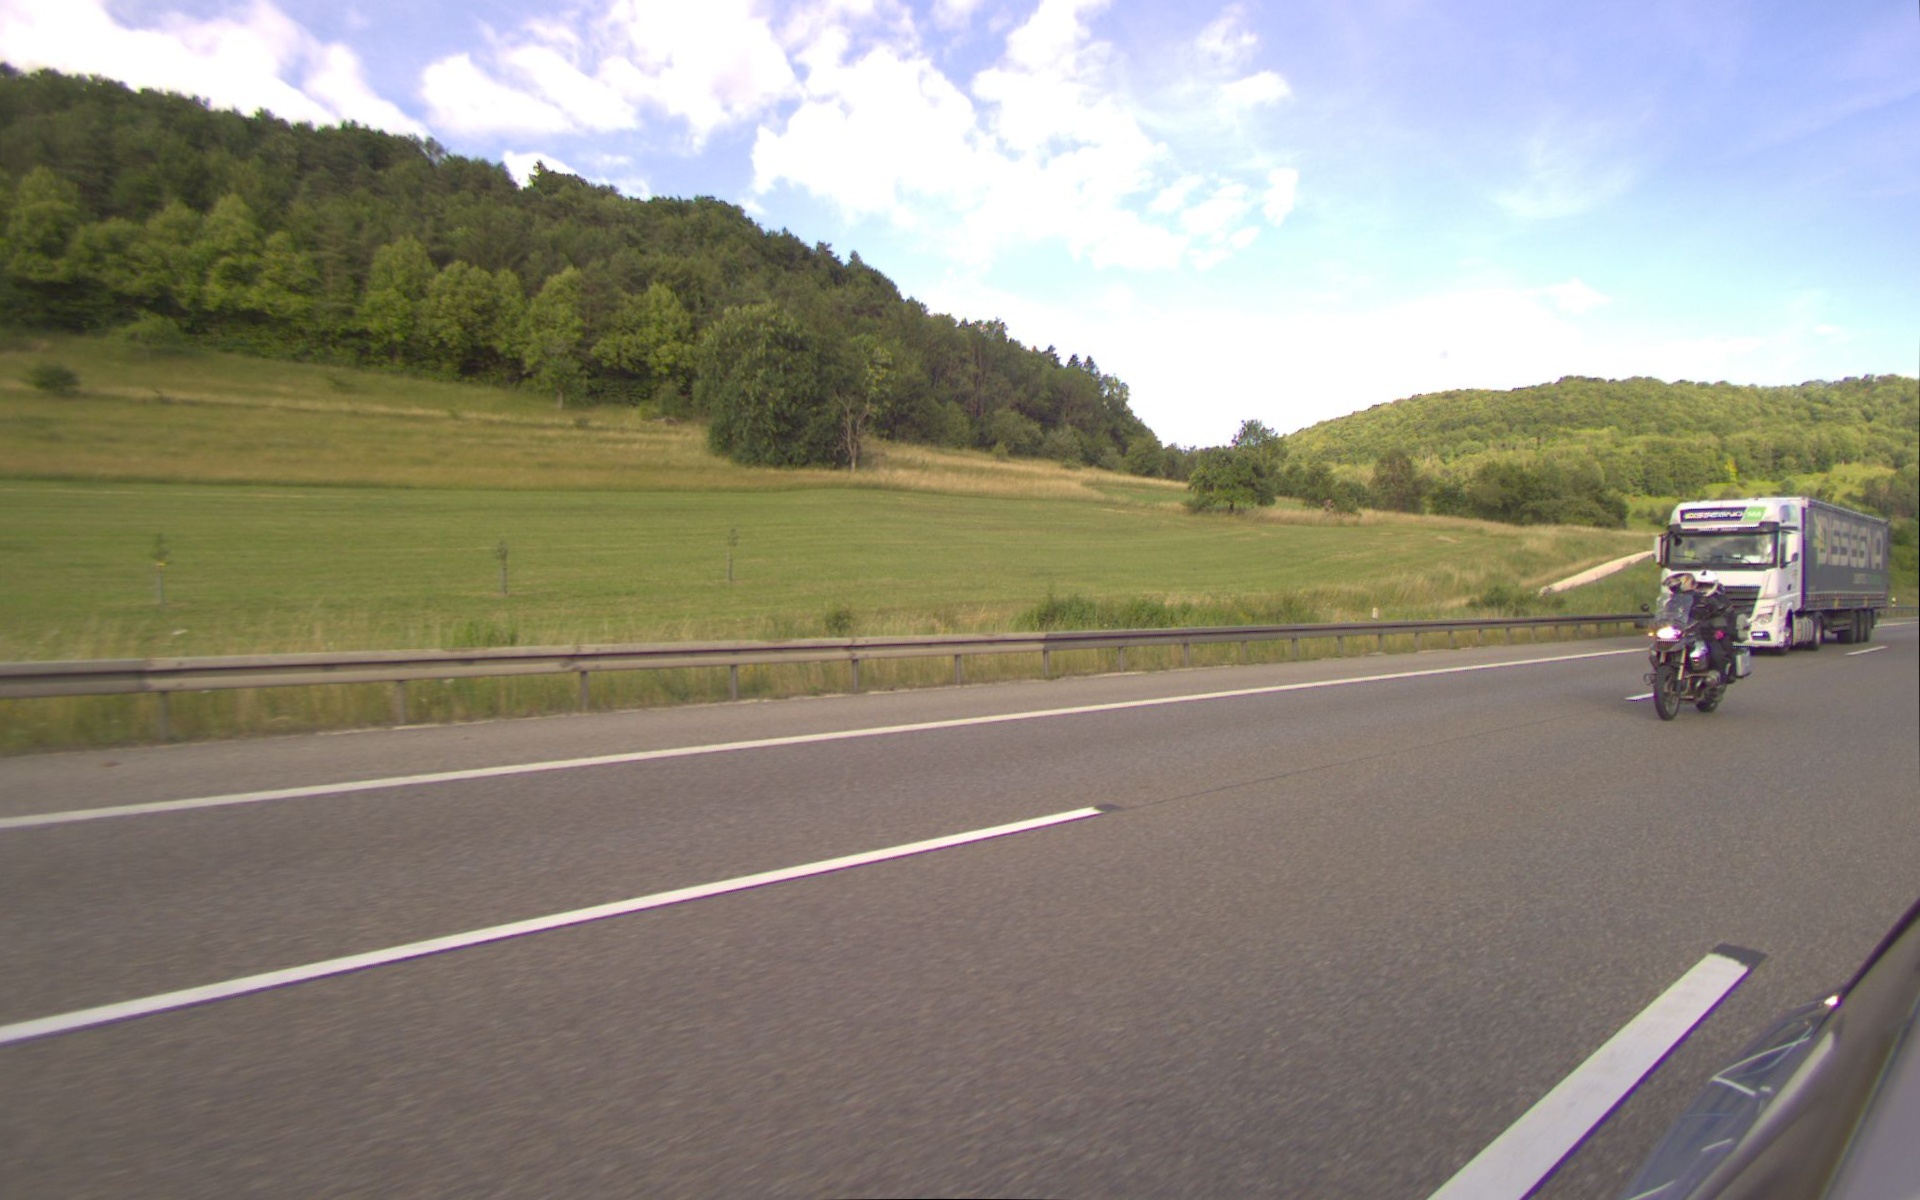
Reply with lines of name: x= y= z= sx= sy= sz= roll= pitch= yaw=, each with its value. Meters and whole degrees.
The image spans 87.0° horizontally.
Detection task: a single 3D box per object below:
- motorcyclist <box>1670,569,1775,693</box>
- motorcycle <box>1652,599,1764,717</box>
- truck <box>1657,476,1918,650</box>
motorcyclist: x=9.801 y=0.376 z=13.024 sx=0.782 sy=1.534 sz=0.880 roll=0 pitch=0 yaw=-34
motorcycle: x=9.273 y=0.672 z=12.523 sx=1.706 sy=1.356 sz=0.629 roll=0 pitch=1 yaw=-36
truck: x=25.398 y=-0.896 z=30.347 sx=17.418 sy=4.042 sz=2.970 roll=0 pitch=1 yaw=-40
